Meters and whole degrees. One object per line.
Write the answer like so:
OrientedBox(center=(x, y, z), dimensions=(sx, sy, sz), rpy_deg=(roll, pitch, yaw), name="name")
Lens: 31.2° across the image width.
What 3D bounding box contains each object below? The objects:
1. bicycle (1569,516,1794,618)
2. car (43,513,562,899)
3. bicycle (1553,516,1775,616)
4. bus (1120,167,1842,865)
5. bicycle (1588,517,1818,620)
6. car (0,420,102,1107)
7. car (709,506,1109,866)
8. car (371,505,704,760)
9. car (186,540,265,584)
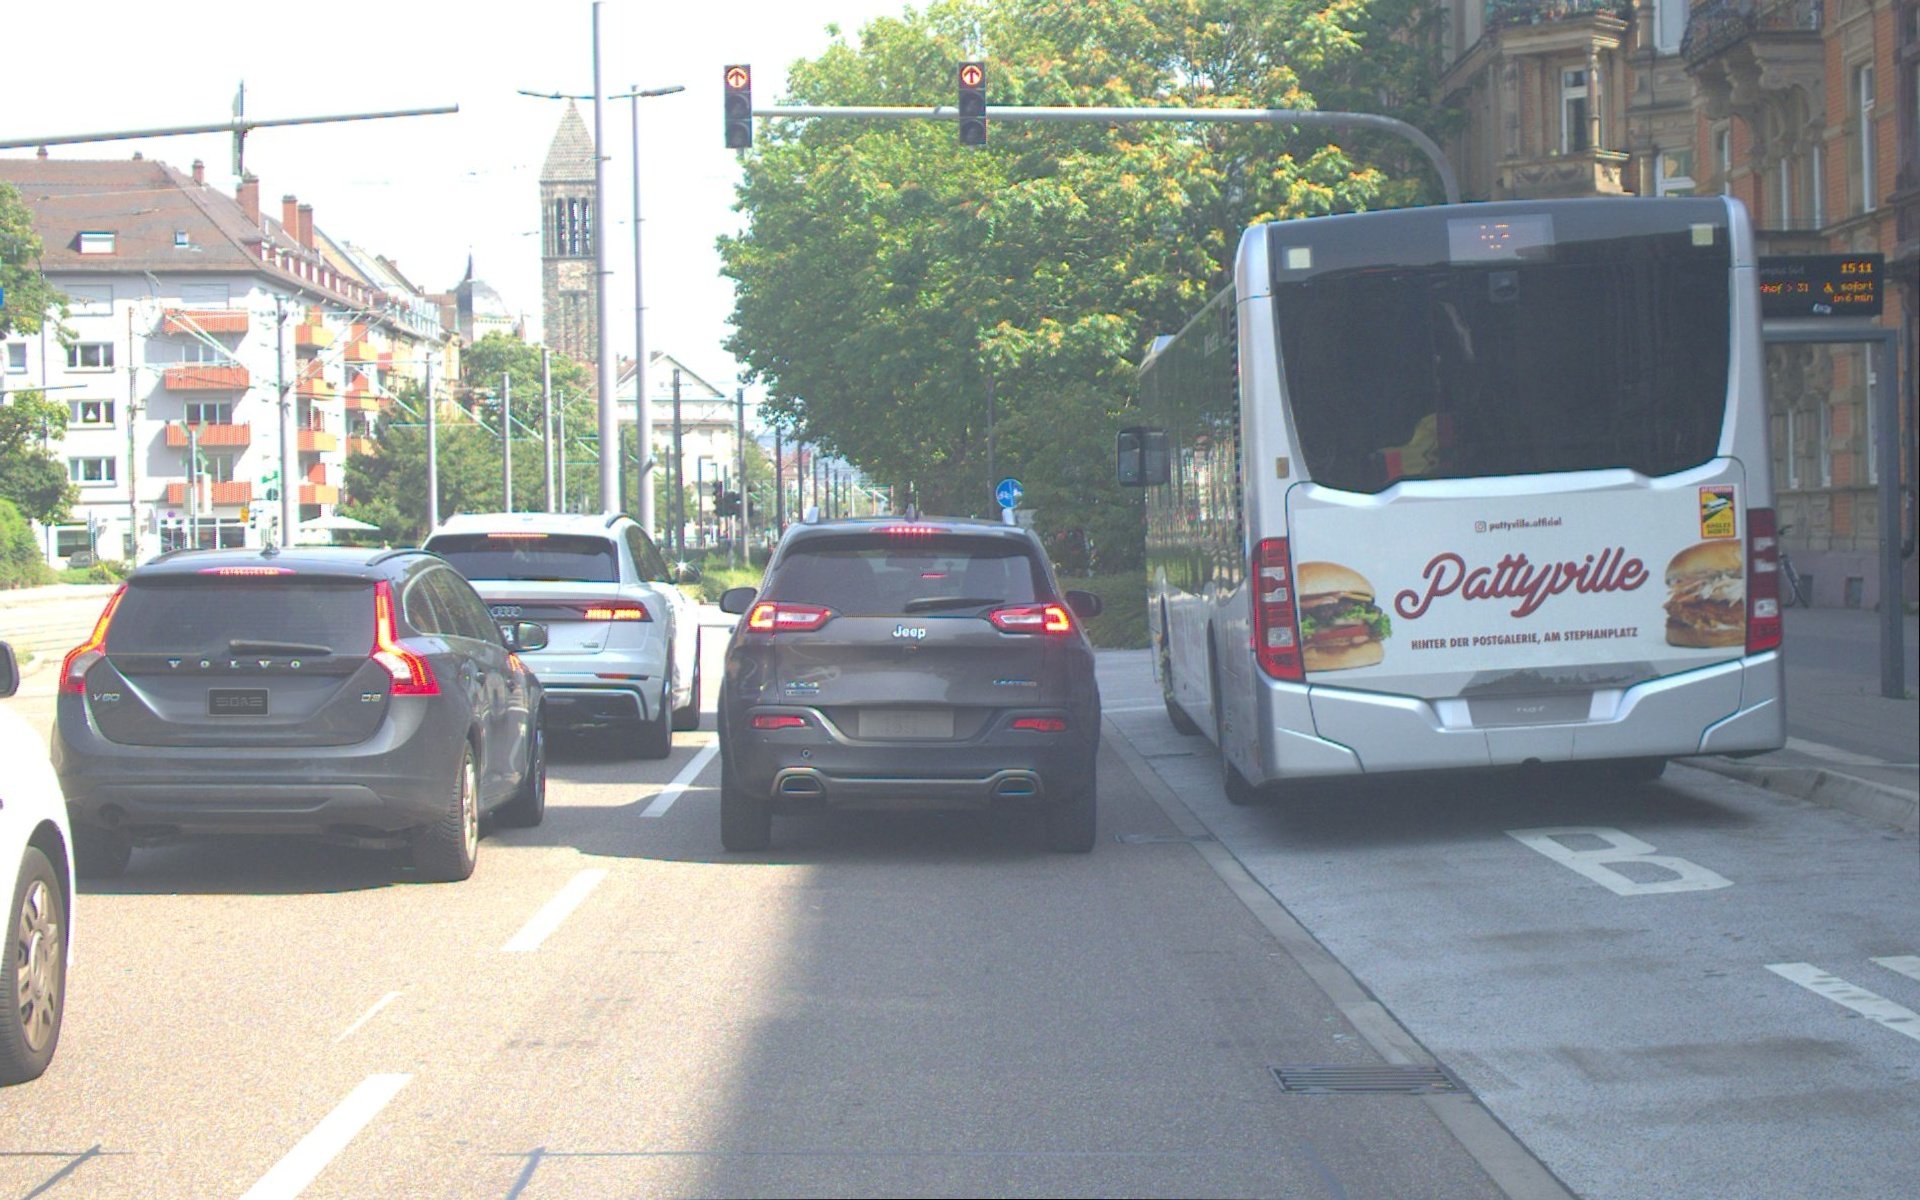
OrientedBox(center=(10.243, -0.476, 48.878), dimensions=(2.993, 1.366, 0.871), rpy_deg=(-1, 1, -1), name="bicycle")
OrientedBox(center=(-3.002, 0.399, 16.538), dimensions=(1.747, 1.609, 4.309), rpy_deg=(0, 1, -1), name="car")
OrientedBox(center=(10.184, -0.494, 49.791), dimensions=(2.993, 1.366, 0.871), rpy_deg=(-1, 1, -1), name="bicycle")
OrientedBox(center=(2.708, -0.498, 22.015), dimensions=(2.743, 3.096, 11.956), rpy_deg=(-3, 1, 1), name="bus")
OrientedBox(center=(10.357, -0.444, 47.974), dimensions=(2.993, 1.366, 0.871), rpy_deg=(-1, 1, -1), name="bicycle")
OrientedBox(center=(-3.392, 0.452, 8.096), dimensions=(1.747, 1.814, 4.240), rpy_deg=(0, 1, -1), name="car")
OrientedBox(center=(-0.234, 0.348, 17.979), dimensions=(1.832, 1.646, 4.308), rpy_deg=(0, 1, 0), name="car")
OrientedBox(center=(-2.887, 0.158, 24.348), dimensions=(1.902, 1.646, 4.309), rpy_deg=(0, 1, -1), name="car")
OrientedBox(center=(-26.009, -1.366, 121.840), dimensions=(1.746, 1.430, 4.573), rpy_deg=(-2, 1, 0), name="car")
